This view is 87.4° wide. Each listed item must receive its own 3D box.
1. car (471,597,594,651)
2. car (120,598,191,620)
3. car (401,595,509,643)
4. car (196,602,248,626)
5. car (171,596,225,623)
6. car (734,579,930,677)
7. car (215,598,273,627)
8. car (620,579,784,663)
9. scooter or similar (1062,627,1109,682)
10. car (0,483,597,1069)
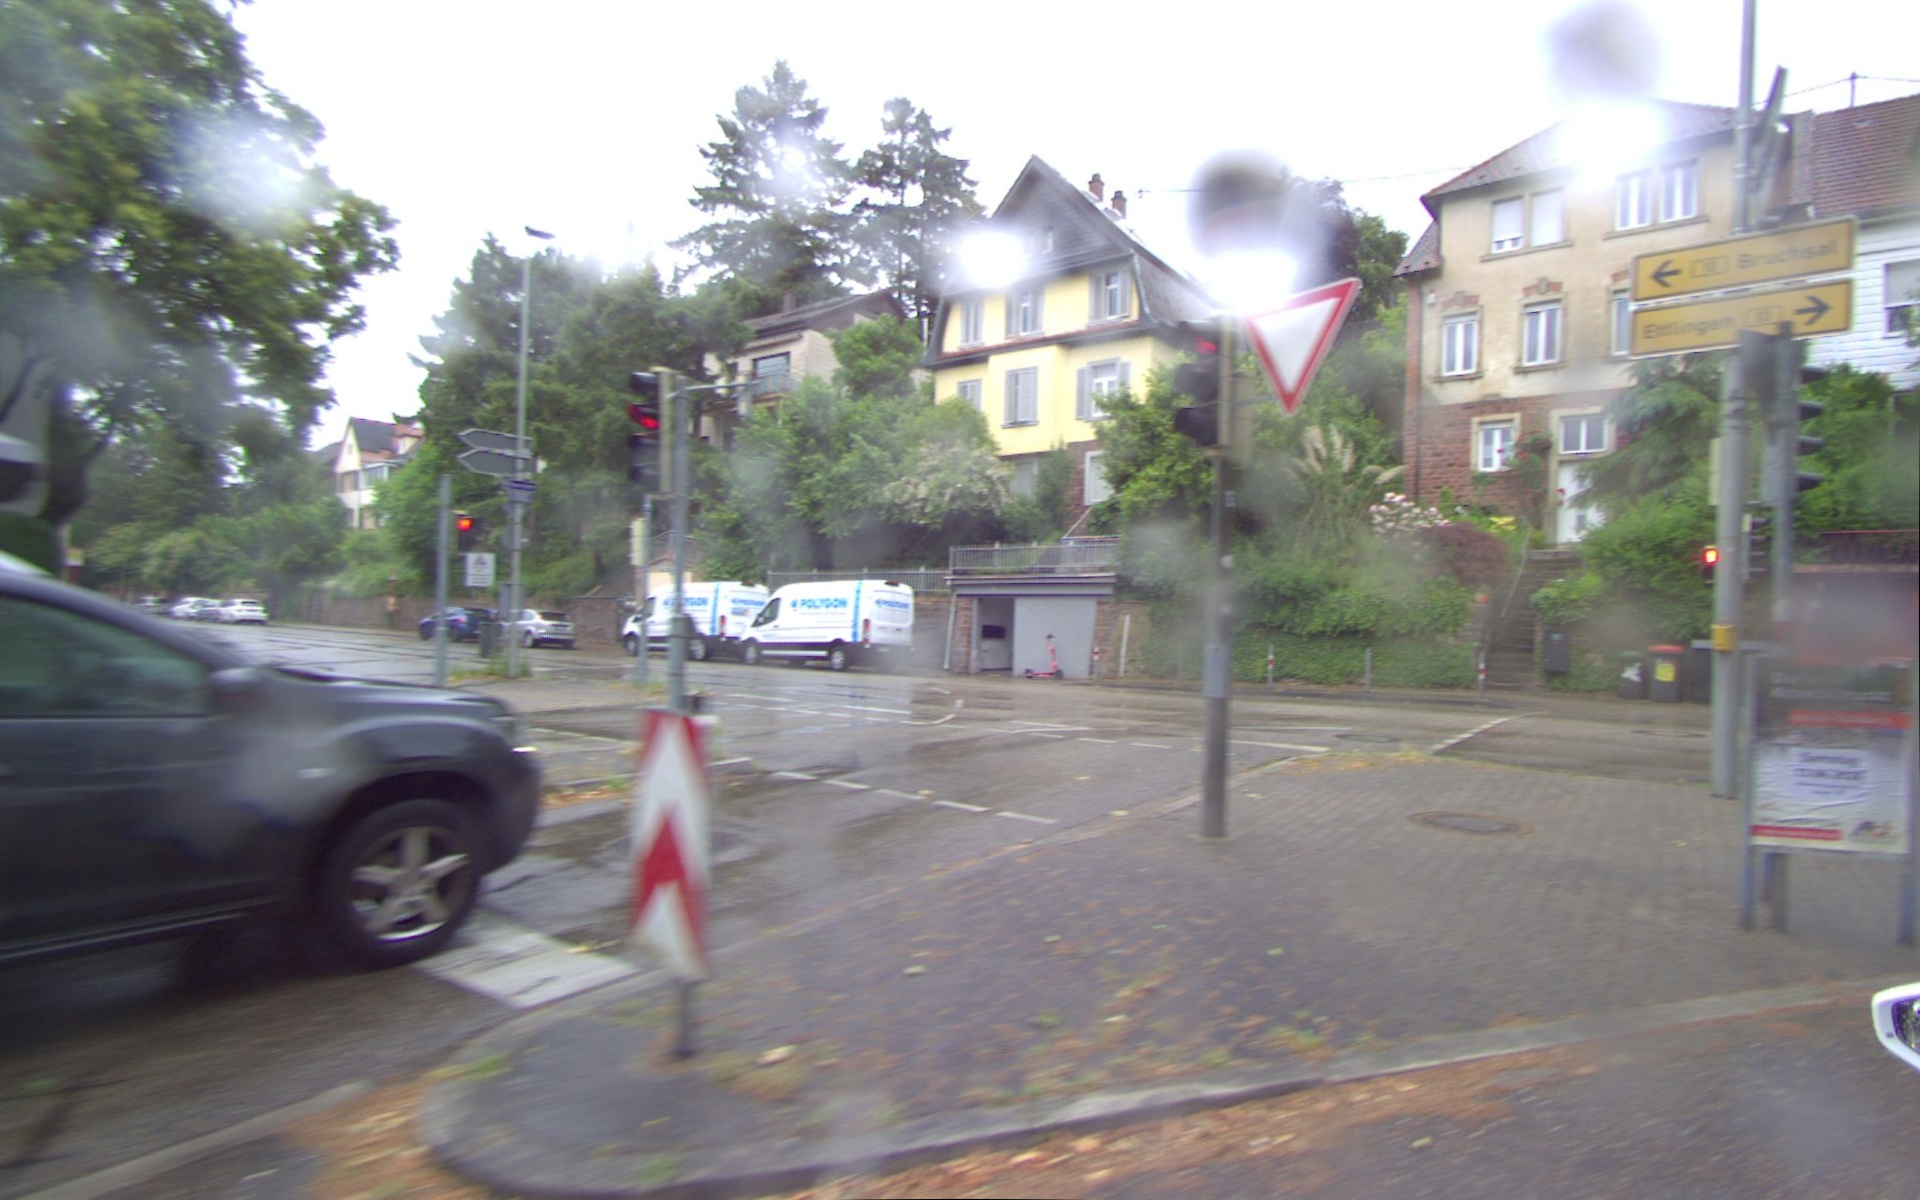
[{"bbox_3d":[-17.078,0.928,39.967,5.494,1.878,2.102,1,-1,39],"label":"car"},{"bbox_3d":[-58.715,0.681,73.351,3.856,1.461,1.793,3,-3,-44],"label":"car"},{"bbox_3d":[-22.172,0.802,43.999,5.494,1.878,2.102,1,-1,39],"label":"car"},{"bbox_3d":[-46.487,0.911,63.250,3.940,1.416,1.752,-1,-3,40],"label":"car"},{"bbox_3d":[-50.588,0.655,66.683,3.939,1.675,1.920,-1,-3,39],"label":"car"},{"bbox_3d":[-3.769,0.739,28.928,5.591,2.527,2.306,1,-1,39],"label":"car"},{"bbox_3d":[-42.809,0.777,60.049,3.939,1.667,1.811,-1,-3,39],"label":"car"},{"bbox_3d":[-8.534,0.645,32.918,5.494,2.527,2.306,1,-1,39],"label":"car"},{"bbox_3d":[3.113,1.354,24.930,1.073,1.352,0.461,1,-2,-5],"label":"scooter or similar"},{"bbox_3d":[-3.693,0.497,3.235,1.737,1.734,4.586,2,1,35],"label":"car"}]
